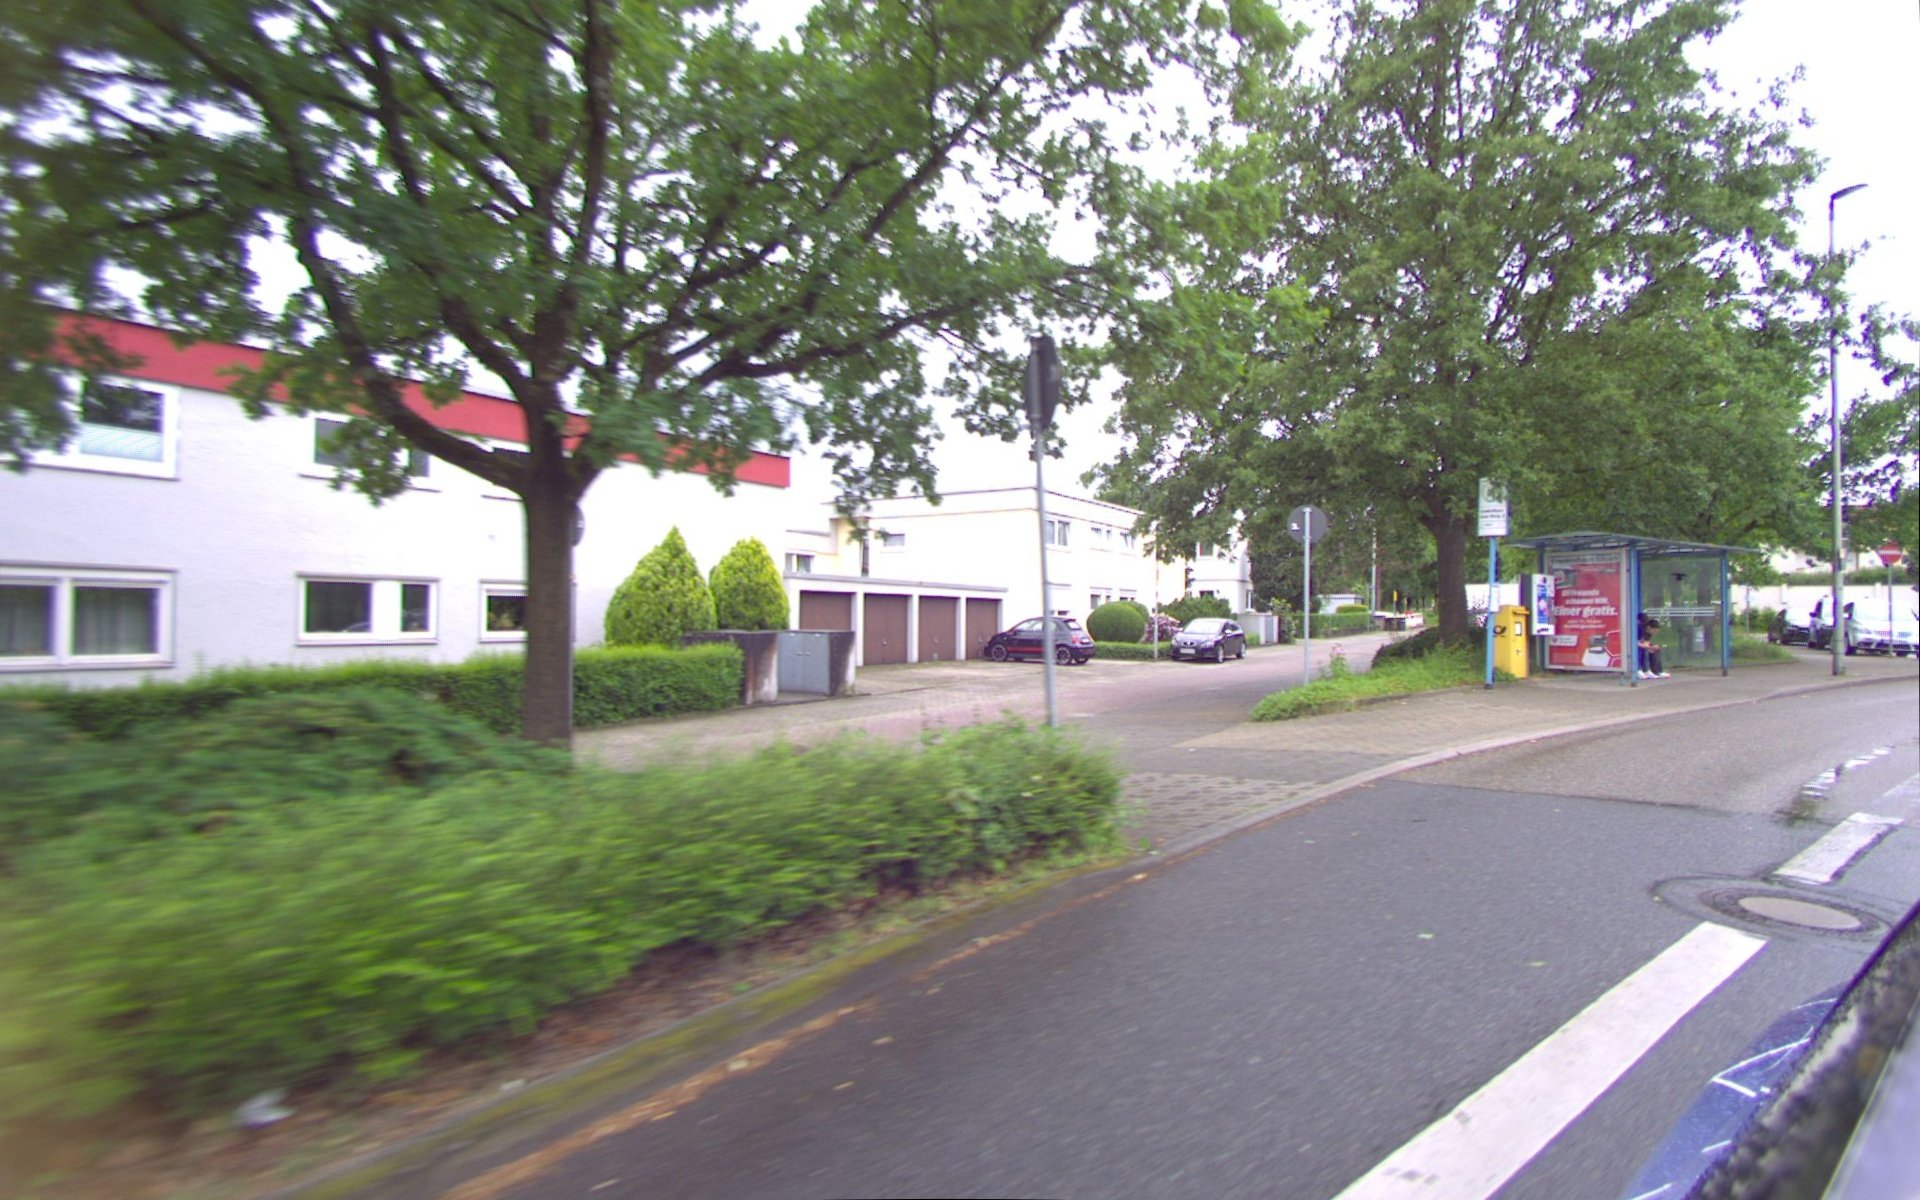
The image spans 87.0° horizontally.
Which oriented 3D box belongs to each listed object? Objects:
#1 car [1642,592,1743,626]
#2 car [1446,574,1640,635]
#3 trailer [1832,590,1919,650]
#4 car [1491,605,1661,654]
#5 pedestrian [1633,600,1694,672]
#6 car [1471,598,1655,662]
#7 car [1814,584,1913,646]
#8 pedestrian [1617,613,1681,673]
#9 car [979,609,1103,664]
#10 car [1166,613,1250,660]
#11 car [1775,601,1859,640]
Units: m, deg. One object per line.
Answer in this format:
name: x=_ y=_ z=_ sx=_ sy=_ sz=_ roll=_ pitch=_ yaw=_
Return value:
car: x=45.373 y=0.595 z=62.859 sx=4.963 sy=2.039 sz=2.060 roll=-1 pitch=-1 yaw=35
car: x=20.935 y=0.148 z=36.687 sx=1.961 sy=2.039 sz=5.841 roll=0 pitch=0 yaw=-33
trailer: x=26.240 y=0.530 z=28.442 sx=1.985 sy=1.562 sz=4.374 roll=-1 pitch=-1 yaw=33
car: x=18.527 y=0.869 z=30.585 sx=1.703 sy=1.354 sz=4.037 roll=0 pitch=-1 yaw=-39
pedestrian: x=12.765 y=0.645 z=18.366 sx=0.540 sy=1.266 sz=0.729 roll=0 pitch=-1 yaw=-31
car: x=15.435 y=0.747 z=26.057 sx=1.726 sy=1.505 sz=3.658 roll=0 pitch=-1 yaw=-33
car: x=29.661 y=0.469 z=33.358 sx=1.988 sy=1.905 sz=4.157 roll=-2 pitch=-1 yaw=36
pedestrian: x=12.252 y=0.757 z=18.003 sx=0.540 sy=1.024 sz=0.751 roll=0 pitch=-1 yaw=-31
car: x=2.592 y=1.126 z=32.552 sx=3.593 sy=1.552 sz=1.743 roll=2 pitch=0 yaw=30
car: x=8.702 y=1.238 z=35.324 sx=1.681 sy=1.529 sz=3.780 roll=-2 pitch=-1 yaw=34
car: x=32.219 y=0.741 z=38.158 sx=1.752 sy=1.400 sz=4.140 roll=-1 pitch=-1 yaw=32
